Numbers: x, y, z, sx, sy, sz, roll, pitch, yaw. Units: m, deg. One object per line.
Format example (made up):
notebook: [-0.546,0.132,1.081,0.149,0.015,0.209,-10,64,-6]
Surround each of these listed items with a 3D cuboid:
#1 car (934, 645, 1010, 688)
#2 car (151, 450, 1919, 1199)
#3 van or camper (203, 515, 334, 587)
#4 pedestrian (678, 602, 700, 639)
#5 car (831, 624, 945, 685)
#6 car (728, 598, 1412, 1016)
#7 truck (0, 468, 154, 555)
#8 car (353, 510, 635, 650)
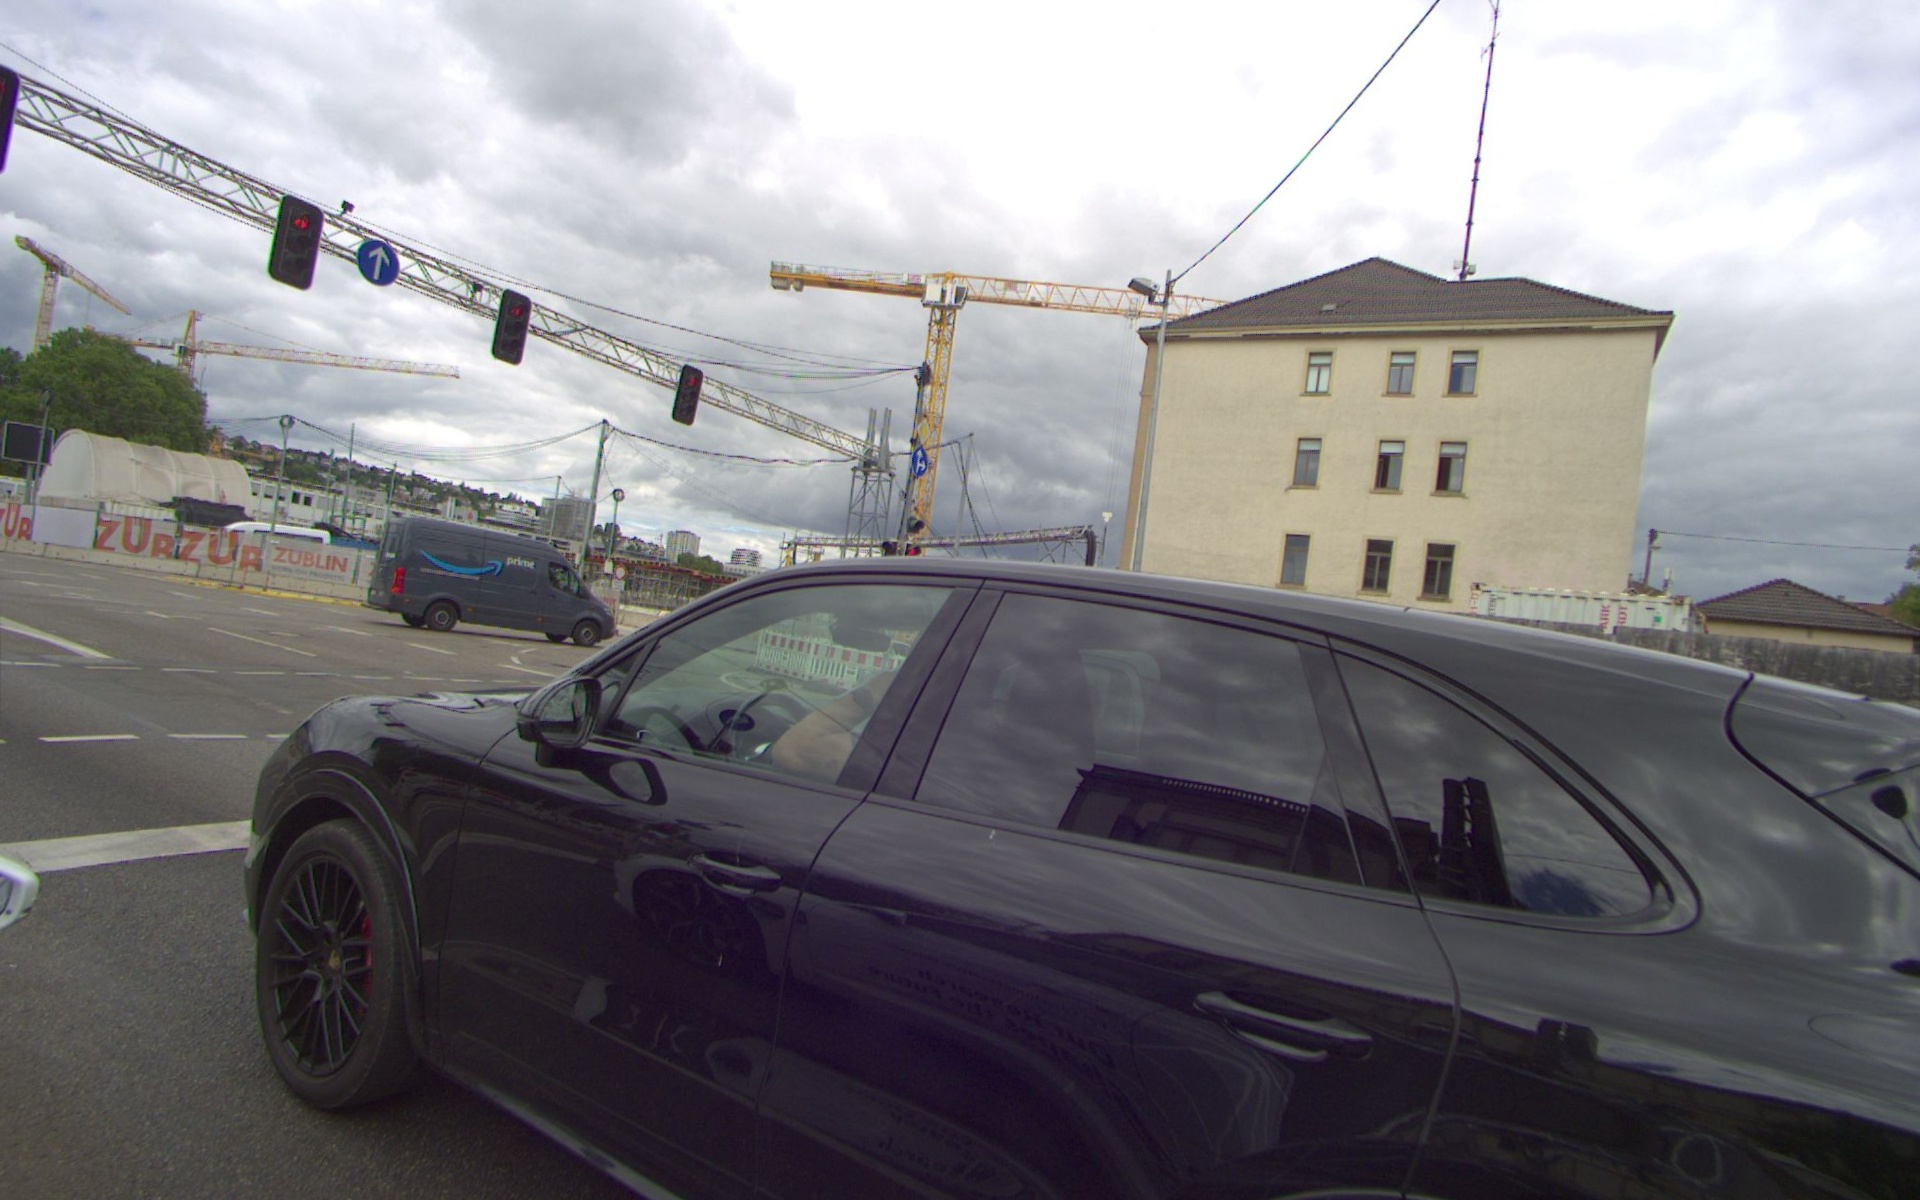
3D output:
car: [0.630,3.305,49.550,1.770,1.687,4.062,7,-3,31]
car: [0.033,0.715,2.697,4.559,1.705,1.959,7,-2,33]
van or camper: [-29.811,-2.076,43.414,4.204,2.384,1.976,10,-3,-44]
pedestrian: [-14.032,1.060,52.078,0.607,1.816,0.654,7,-1,23]
car: [-2.662,2.117,38.409,1.854,1.755,4.438,7,-3,34]
car: [0.590,1.044,6.373,3.818,1.561,1.667,7,-2,33]
truck: [-57.897,-5.799,61.935,3.875,4.086,13.089,8,-2,12]
car: [-11.708,-0.407,25.722,2.037,2.623,5.986,6,-3,44]
